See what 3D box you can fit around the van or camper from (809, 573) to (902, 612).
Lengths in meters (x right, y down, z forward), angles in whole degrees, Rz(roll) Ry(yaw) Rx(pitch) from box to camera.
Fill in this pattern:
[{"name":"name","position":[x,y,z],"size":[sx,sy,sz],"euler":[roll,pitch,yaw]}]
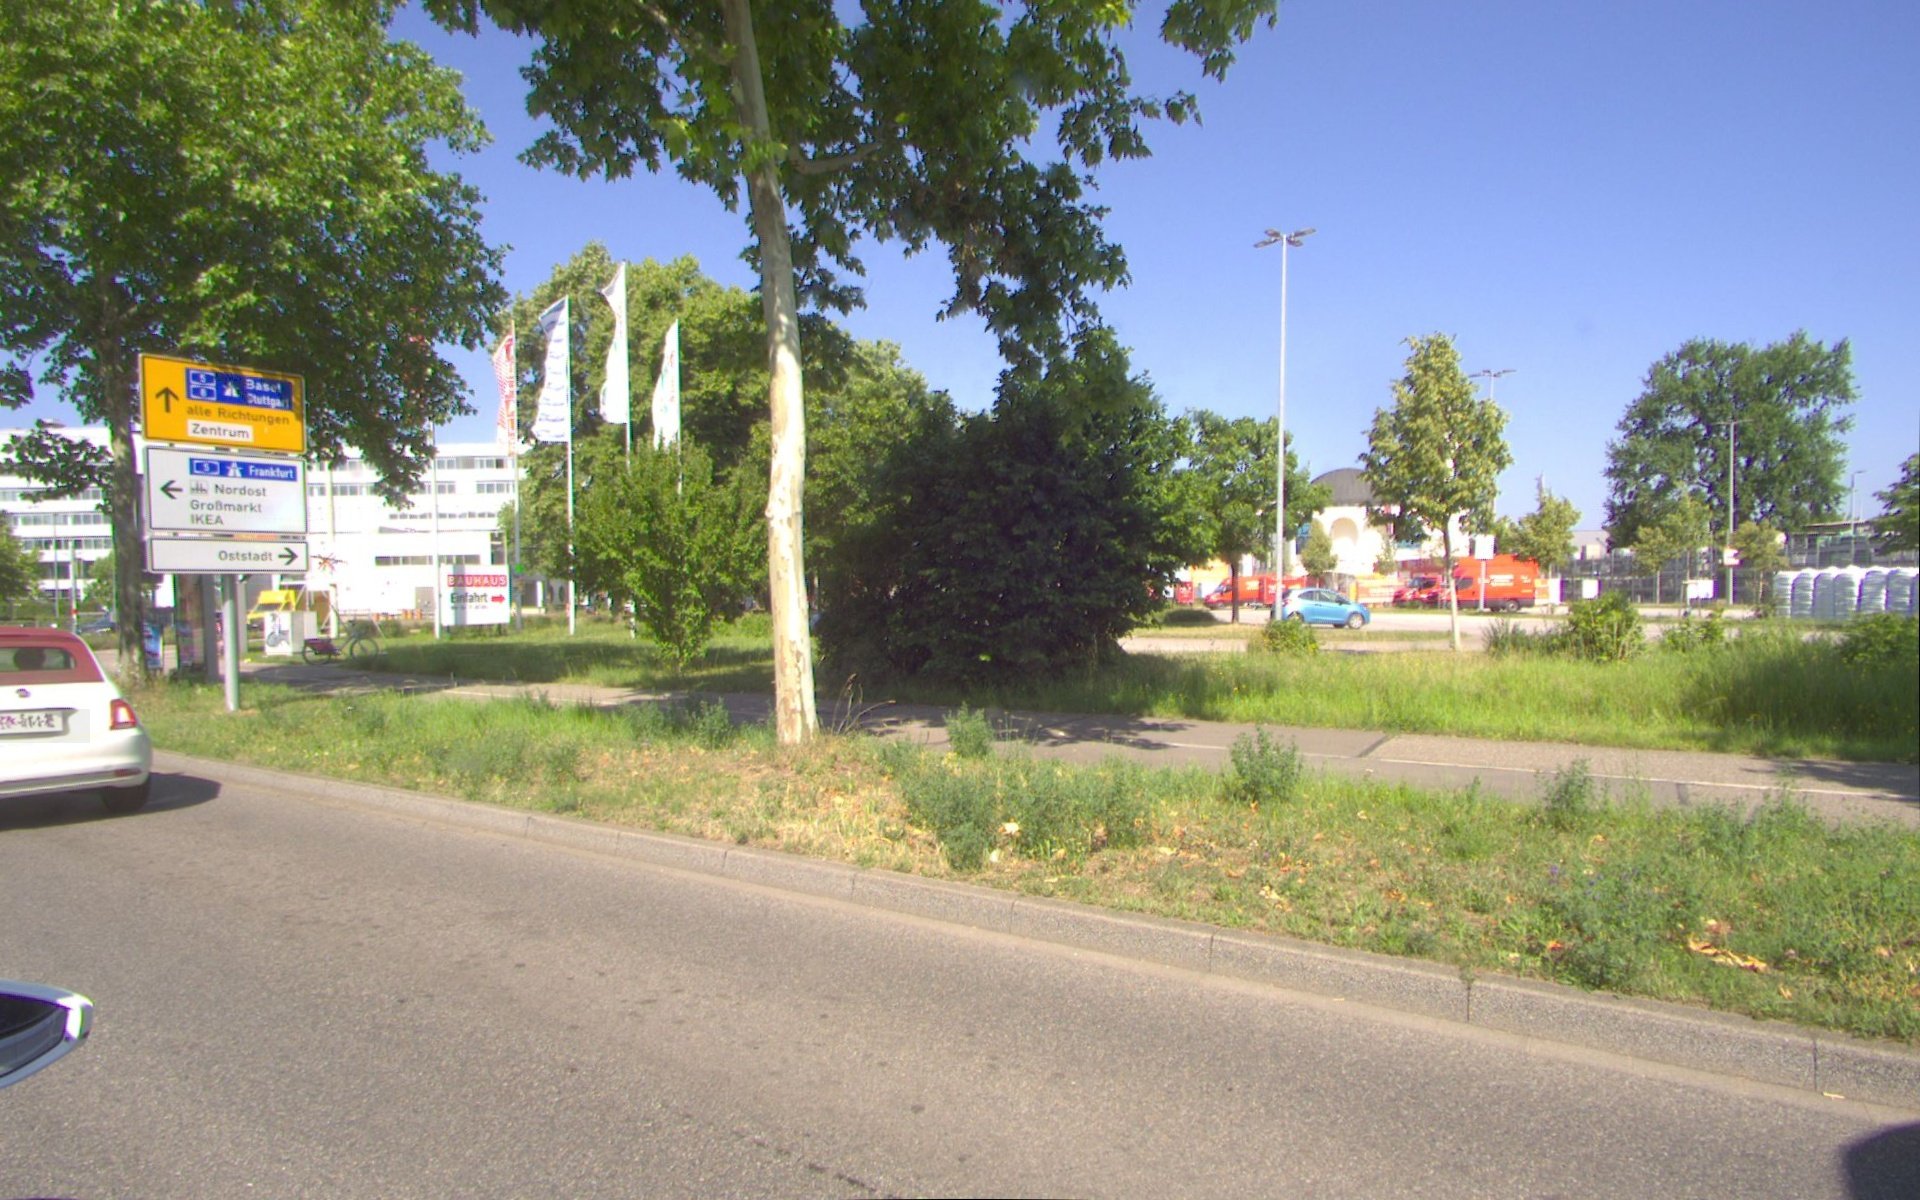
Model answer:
[{"name":"van or camper","position":[-8.139,-0.558,78.376],"size":[7.145,2.979,2.001],"euler":[0,-1,-2]}]

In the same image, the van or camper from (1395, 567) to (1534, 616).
[{"name":"van or camper","position":[29.420,-0.481,58.555],"size":[7.145,2.739,2.001],"euler":[0,-1,-2]}]

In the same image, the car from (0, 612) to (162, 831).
[{"name":"car","position":[-8.020,0.894,8.061],"size":[3.214,1.533,1.536],"euler":[-1,-2,32]}]

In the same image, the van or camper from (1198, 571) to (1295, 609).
[{"name":"van or camper","position":[22.957,-0.791,80.348],"size":[7.145,2.979,2.001],"euler":[0,-1,-2]}]

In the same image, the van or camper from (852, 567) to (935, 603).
[{"name":"van or camper","position":[-5.793,-1.284,87.489],"size":[7.145,2.979,2.001],"euler":[0,-1,-2]}]

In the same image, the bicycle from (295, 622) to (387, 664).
[{"name":"bicycle","position":[-16.357,1.113,26.498],"size":[1.985,1.027,0.615],"euler":[-1,1,-41]}]

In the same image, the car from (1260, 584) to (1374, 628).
[{"name":"car","position":[13.158,0.229,37.063],"size":[3.580,1.561,1.753],"euler":[0,-2,-3]}]

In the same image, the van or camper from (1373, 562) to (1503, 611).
[{"name":"van or camper","position":[29.695,-0.805,62.305],"size":[7.145,2.979,2.001],"euler":[0,-1,-2]}]

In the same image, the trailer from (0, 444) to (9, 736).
[{"name":"trailer","position":[-18.136,-0.045,14.619],"size":[12.500,3.668,2.896],"euler":[-1,-2,31]}]

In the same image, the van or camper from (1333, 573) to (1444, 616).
[{"name":"van or camper","position":[30.680,-0.398,71.789],"size":[7.145,2.979,2.001],"euler":[0,-1,-2]}]
